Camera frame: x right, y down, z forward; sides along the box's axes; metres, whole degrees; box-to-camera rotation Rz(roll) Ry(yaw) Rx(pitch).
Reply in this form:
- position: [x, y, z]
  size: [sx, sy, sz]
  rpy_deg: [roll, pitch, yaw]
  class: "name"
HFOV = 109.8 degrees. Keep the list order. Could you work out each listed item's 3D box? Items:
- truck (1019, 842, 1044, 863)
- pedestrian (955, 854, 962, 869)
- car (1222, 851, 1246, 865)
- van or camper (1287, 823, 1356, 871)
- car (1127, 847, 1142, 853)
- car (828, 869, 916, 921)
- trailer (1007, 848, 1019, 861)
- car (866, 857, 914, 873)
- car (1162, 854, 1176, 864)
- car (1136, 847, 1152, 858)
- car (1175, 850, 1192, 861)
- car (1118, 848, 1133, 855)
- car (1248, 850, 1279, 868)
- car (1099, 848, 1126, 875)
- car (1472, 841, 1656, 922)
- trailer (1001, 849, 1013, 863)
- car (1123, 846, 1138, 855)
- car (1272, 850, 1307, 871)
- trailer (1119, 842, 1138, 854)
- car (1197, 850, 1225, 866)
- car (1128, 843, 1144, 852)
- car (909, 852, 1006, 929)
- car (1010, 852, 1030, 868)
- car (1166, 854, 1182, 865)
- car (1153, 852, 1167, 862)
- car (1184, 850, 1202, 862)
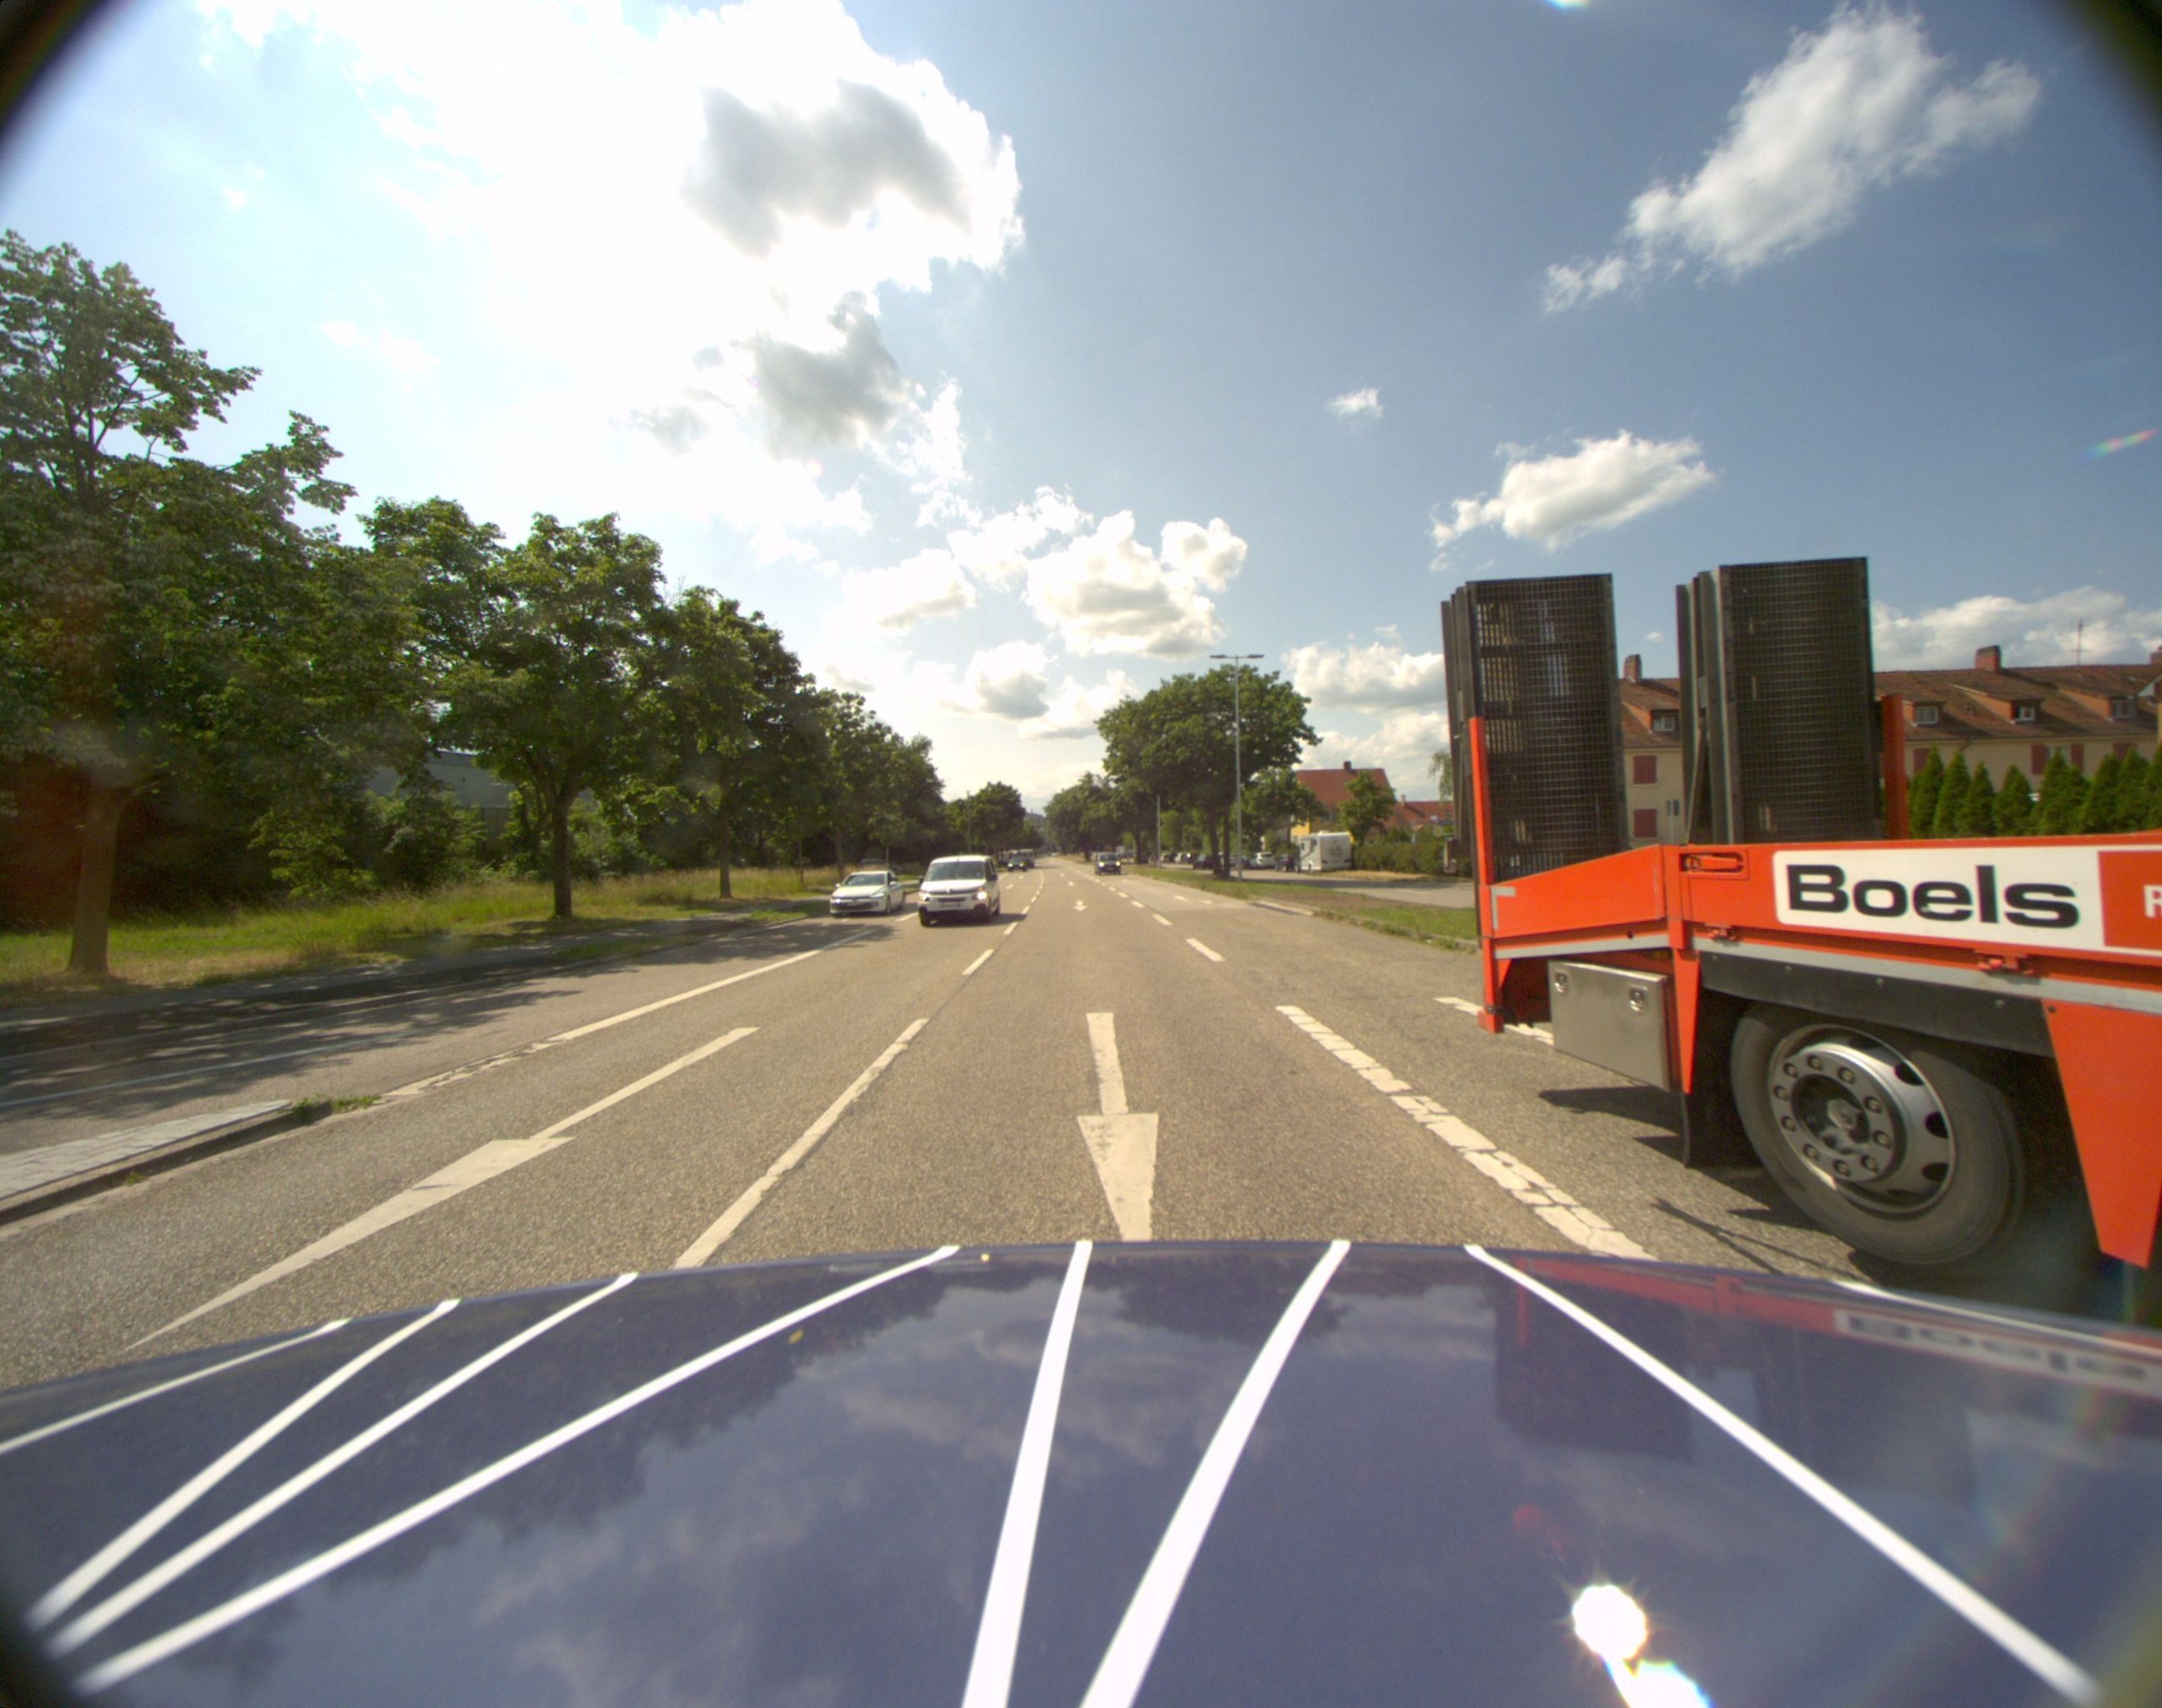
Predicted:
- position: [-7.031, -0.261, 109.577]
  size: [2.848, 2.649, 7.350]
  rpy_deg: [-3, 1, 1]
  class: "truck"
- position: [-15.388, 0.905, 95.697]
  size: [0.719, 1.784, 0.739]
  rpy_deg: [-4, 2, -4]
  class: "pedestrian"
- position: [16.440, 0.393, 81.962]
  size: [1.515, 1.362, 4.530]
  rpy_deg: [-4, 0, -1]
  class: "car"
- position: [17.224, -0.446, 54.963]
  size: [2.265, 3.094, 7.318]
  rpy_deg: [-4, 0, -2]
  class: "van or camper"
- position: [13.709, -1.073, 195.320]
  size: [1.569, 1.390, 4.007]
  rpy_deg: [-2, 2, 44]
  class: "car"
- position: [-6.867, 1.297, 25.402]
  size: [1.737, 1.477, 4.092]
  rpy_deg: [-2, 0, 0]
  class: "car"
- position: [-13.404, 0.046, 149.653]
  size: [1.999, 2.352, 4.780]
  rpy_deg: [2, 1, -3]
  class: "trailer"
- position: [-17.965, 1.044, 71.567]
  size: [4.176, 1.484, 1.783]
  rpy_deg: [1, -1, -7]
  class: "car"
- position: [14.700, 0.850, 126.498]
  size: [1.598, 1.453, 3.533]
  rpy_deg: [-4, 1, -4]
  class: "car"
- position: [9.337, -0.241, 112.721]
  size: [1.737, 1.499, 4.650]
  rpy_deg: [2, 1, -2]
  class: "car"
- position: [15.176, 0.247, 112.497]
  size: [1.665, 1.443, 3.845]
  rpy_deg: [-4, 1, -4]
  class: "car"
- position: [11.865, -0.722, 202.995]
  size: [3.998, 1.502, 1.799]
  rpy_deg: [-4, 1, -2]
  class: "car"
- position: [16.865, 0.409, 70.403]
  size: [1.693, 1.477, 4.122]
  rpy_deg: [-4, 1, -1]
  class: "car"
- position: [2.462, 0.571, 60.262]
  size: [1.768, 1.893, 4.539]
  rpy_deg: [-4, 1, -1]
  class: "car"
- position: [11.271, 0.570, 18.104]
  size: [1.799, 1.679, 3.999]
  rpy_deg: [-1, 0, -1]
  class: "car"
- position: [-12.510, 0.296, 128.855]
  size: [1.958, 2.338, 4.603]
  rpy_deg: [0, 1, -5]
  class: "trailer"
- position: [12.922, -0.914, 197.974]
  size: [1.800, 2.002, 4.007]
  rpy_deg: [-2, 2, 44]
  class: "car"
- position: [16.933, 0.489, 61.860]
  size: [1.640, 1.477, 3.991]
  rpy_deg: [-4, 1, -1]
  class: "car"
- position: [13.469, -1.827, 215.092]
  size: [2.821, 3.090, 5.763]
  rpy_deg: [-3, 0, 35]
  class: "trailer"
- position: [12.220, 0.369, 71.836]
  size: [1.776, 1.430, 4.574]
  rpy_deg: [-1, 1, -1]
  class: "car"
- position: [13.745, -1.540, 189.965]
  size: [1.800, 2.002, 4.007]
  rpy_deg: [-2, 2, 44]
  class: "car"
- position: [-3.235, 0.893, 20.915]
  size: [1.936, 1.774, 4.714]
  rpy_deg: [-4, 0, -2]
  class: "car"
- position: [-6.736, 0.644, 84.655]
  size: [1.758, 1.482, 3.999]
  rpy_deg: [-3, 1, 1]
  class: "car"
- position: [14.633, 0.844, 120.196]
  size: [1.665, 1.603, 4.312]
  rpy_deg: [-4, 1, -4]
  class: "car"
- position: [14.233, 0.549, 137.311]
  size: [1.772, 1.543, 3.998]
  rpy_deg: [-4, 1, -4]
  class: "car"
- position: [15.492, 0.272, 105.257]
  size: [1.665, 1.473, 4.102]
  rpy_deg: [-4, 0, -4]
  class: "car"
